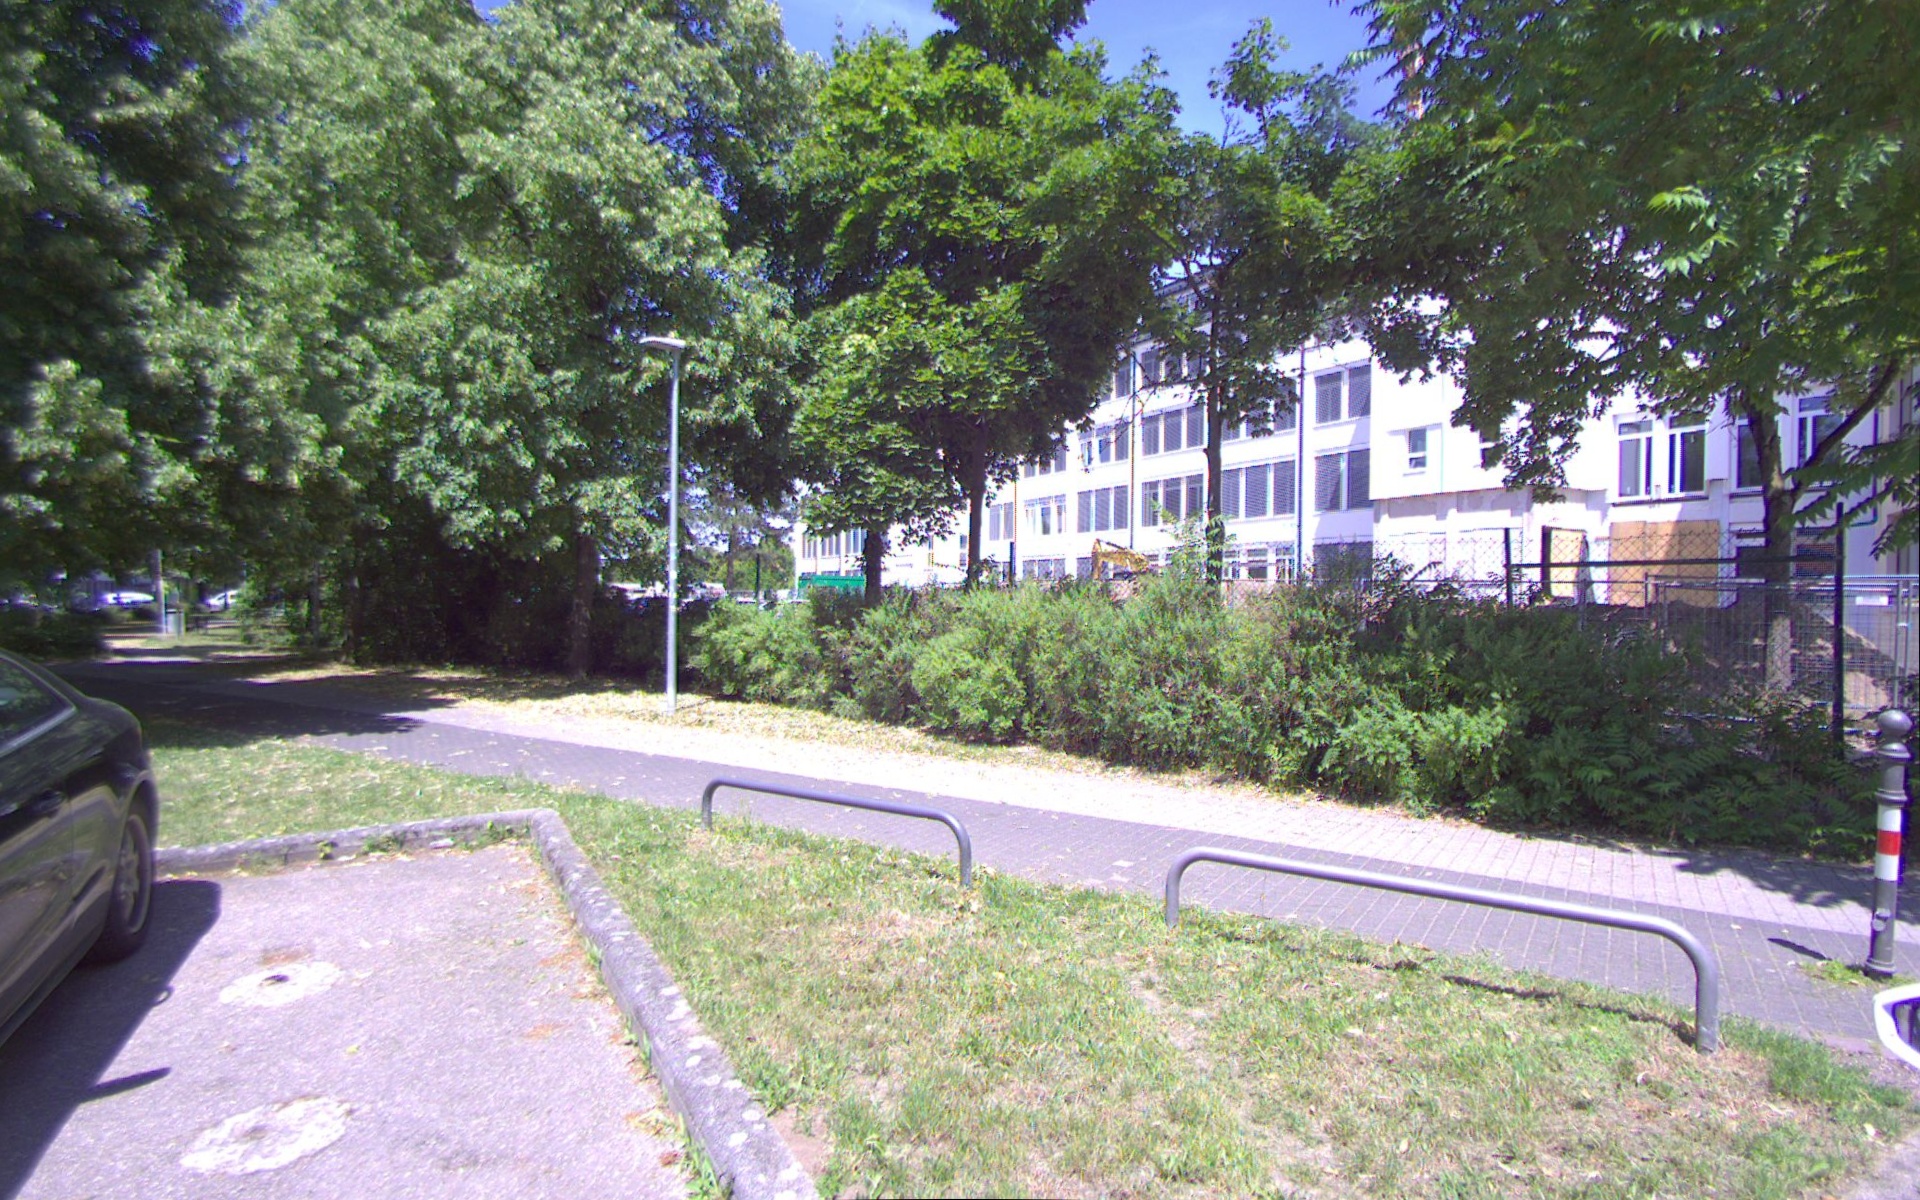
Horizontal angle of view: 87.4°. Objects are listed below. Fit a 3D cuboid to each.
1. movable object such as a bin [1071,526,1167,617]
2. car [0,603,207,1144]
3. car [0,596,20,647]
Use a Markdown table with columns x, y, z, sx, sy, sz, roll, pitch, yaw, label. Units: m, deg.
| x | y | z | sx | sy | sz | roll | pitch | yaw | label |
| --- | --- | --- | --- | --- | --- | --- | --- | --- | --- |
| 8.168 | -1.375 | 52.176 | 1.973 | 4.430 | 5.686 | 1 | 0 | -26 | movable object such as a bin |
| -3.520 | 0.732 | 2.392 | 1.998 | 1.398 | 4.413 | -1 | 1 | -27 | car |
| -40.520 | 0.825 | 40.151 | 3.956 | 2.040 | 1.982 | 2 | 0 | -32 | car |
